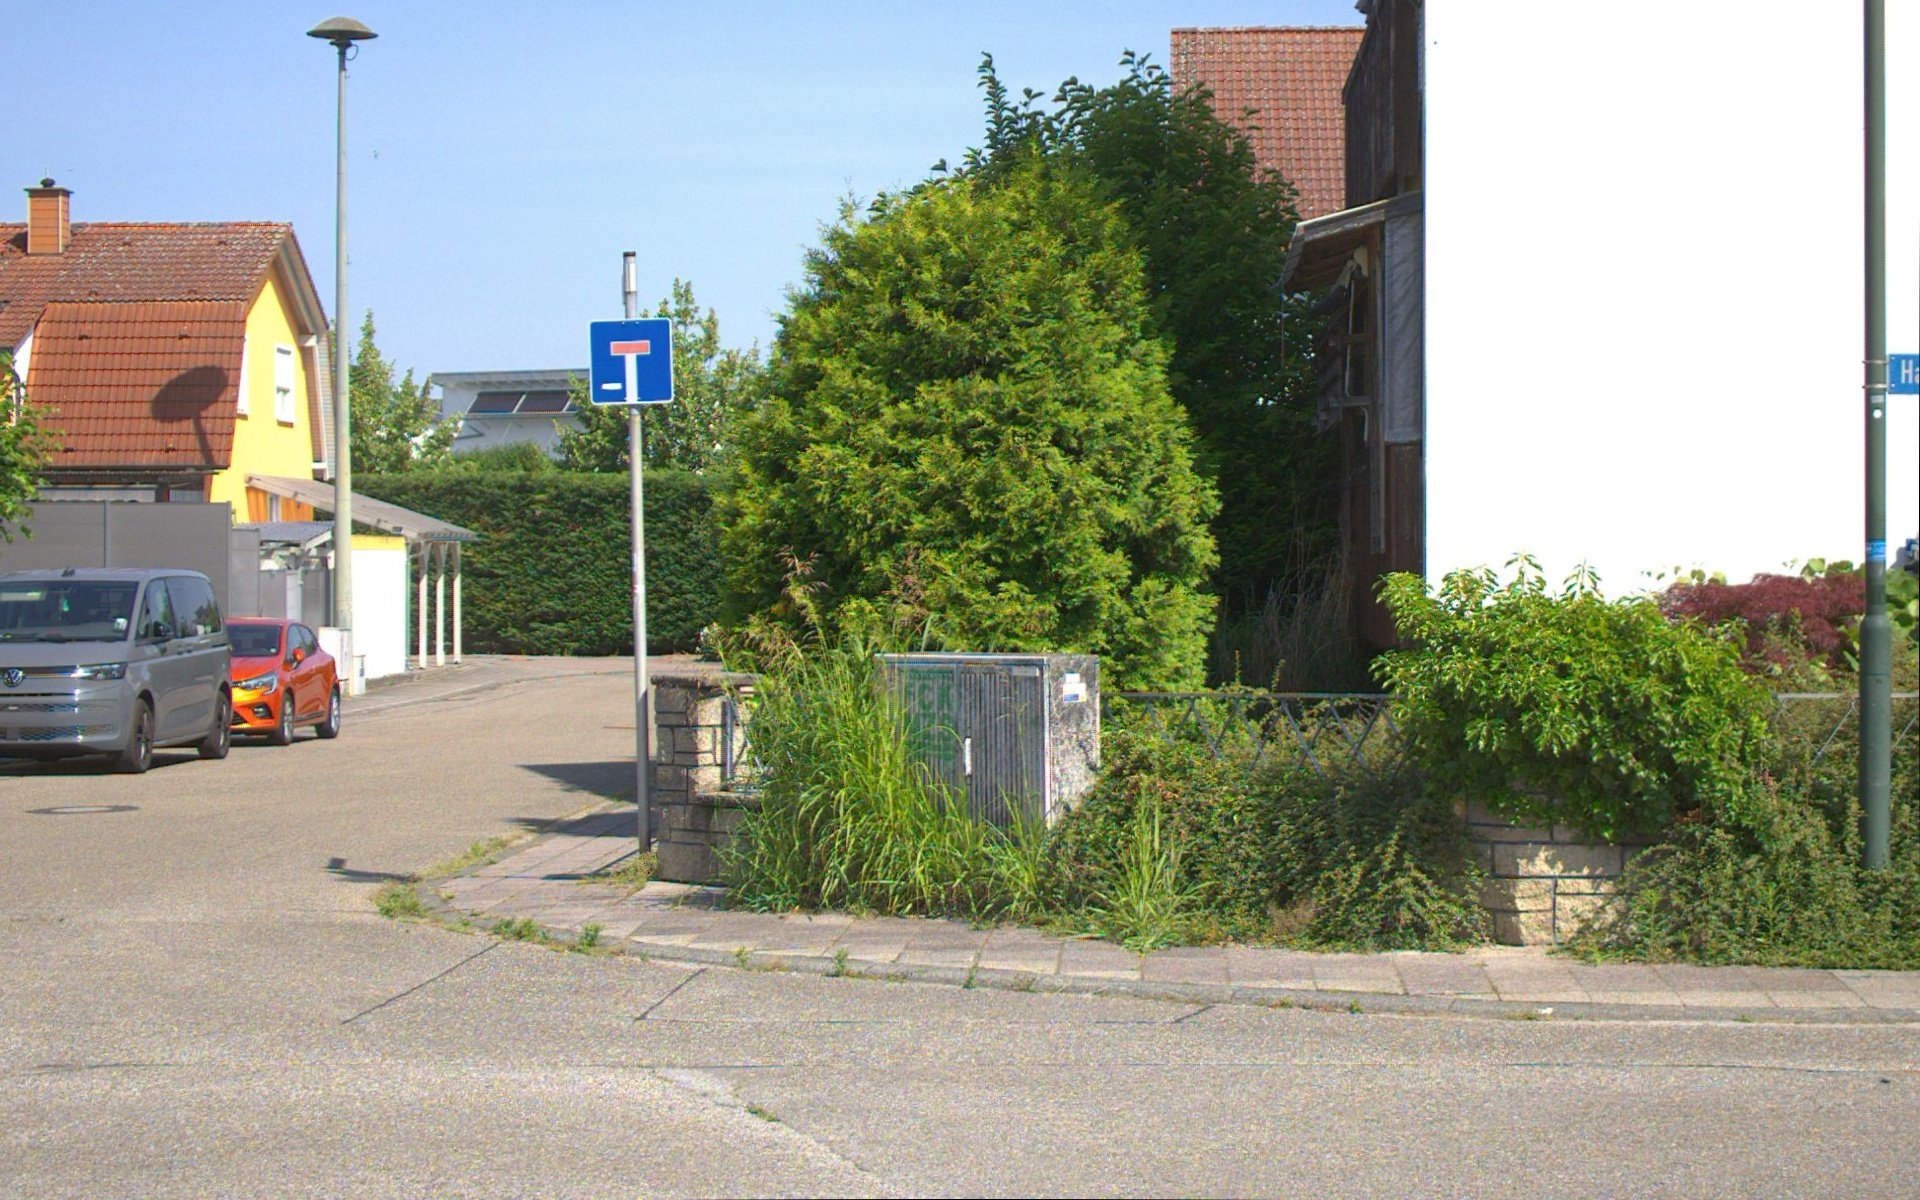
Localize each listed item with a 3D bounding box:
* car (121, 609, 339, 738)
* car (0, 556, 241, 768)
[{"bbox_3d":[-8.253,0.805,39.161,1.652,1.360,3.779,0,0,0],"label":"car"},{"bbox_3d":[-8.353,0.525,32.639,1.901,1.863,4.371,0,1,3],"label":"car"}]
